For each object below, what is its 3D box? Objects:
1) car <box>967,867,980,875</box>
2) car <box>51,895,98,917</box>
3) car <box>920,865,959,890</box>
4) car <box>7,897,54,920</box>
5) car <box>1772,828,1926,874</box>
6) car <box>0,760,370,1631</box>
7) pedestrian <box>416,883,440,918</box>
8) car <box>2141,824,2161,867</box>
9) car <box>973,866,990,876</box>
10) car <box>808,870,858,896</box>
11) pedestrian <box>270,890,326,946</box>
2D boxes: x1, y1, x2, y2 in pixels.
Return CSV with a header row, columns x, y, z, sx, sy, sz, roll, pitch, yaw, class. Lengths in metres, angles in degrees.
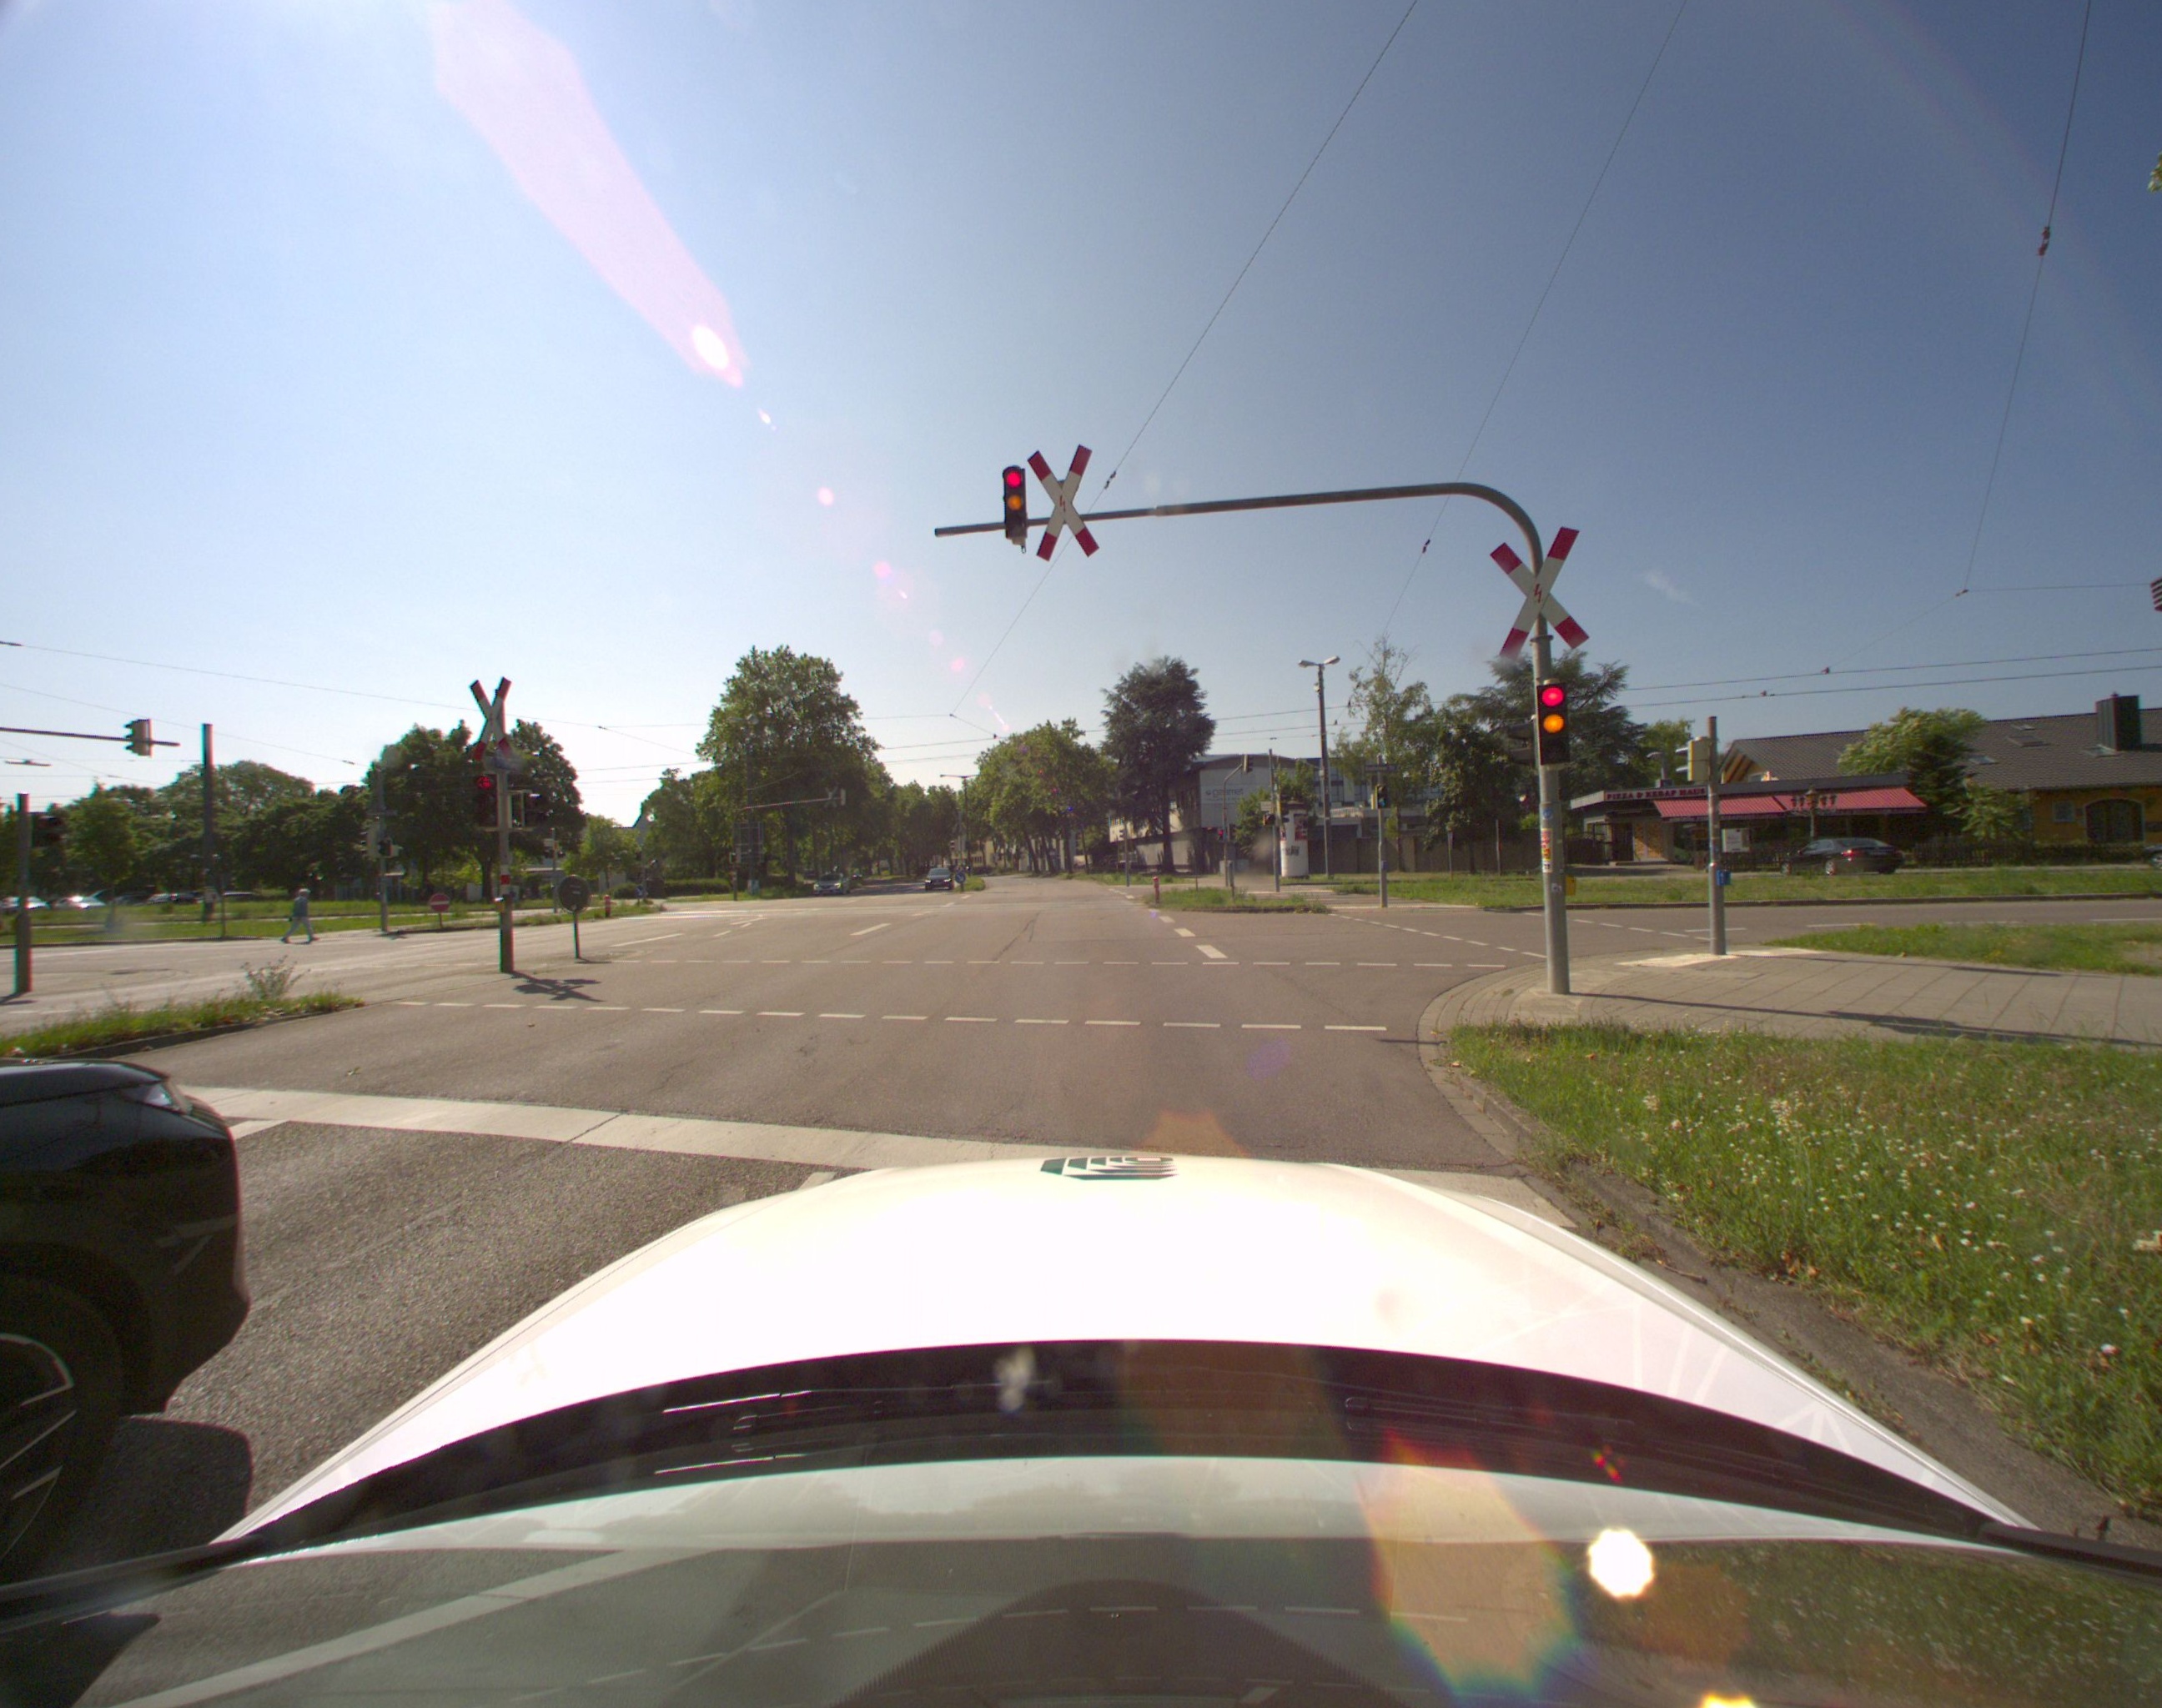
x,y,z,sx,sy,sz,roll,pitch,yaw,class
-19.773,3.113,149.476,1.712,1.487,4.075,-2,0,-18,car
-72.195,3.754,58.418,3.299,1.446,1.457,-2,-1,27,car
-9.315,1.548,53.975,1.687,1.508,4.131,-2,-1,2,car
-73.026,3.778,56.601,3.299,1.446,1.357,-2,-1,27,car
28.915,-0.044,30.950,2.119,1.499,5.141,-2,-2,17,car
-3.094,0.669,0.185,1.865,1.696,4.437,-1,0,2,car
-38.957,2.771,48.603,0.793,2.013,0.709,-2,-1,-11,pedestrian
38.703,-0.333,26.772,2.132,1.499,4.199,-1,-1,-5,car
-17.598,3.004,144.220,1.714,1.487,4.683,-3,0,-22,car
-16.453,1.902,54.312,1.687,1.508,4.664,-2,-1,2,car
-22.314,1.807,23.221,0.692,1.501,0.873,-2,-1,16,pedestrian
